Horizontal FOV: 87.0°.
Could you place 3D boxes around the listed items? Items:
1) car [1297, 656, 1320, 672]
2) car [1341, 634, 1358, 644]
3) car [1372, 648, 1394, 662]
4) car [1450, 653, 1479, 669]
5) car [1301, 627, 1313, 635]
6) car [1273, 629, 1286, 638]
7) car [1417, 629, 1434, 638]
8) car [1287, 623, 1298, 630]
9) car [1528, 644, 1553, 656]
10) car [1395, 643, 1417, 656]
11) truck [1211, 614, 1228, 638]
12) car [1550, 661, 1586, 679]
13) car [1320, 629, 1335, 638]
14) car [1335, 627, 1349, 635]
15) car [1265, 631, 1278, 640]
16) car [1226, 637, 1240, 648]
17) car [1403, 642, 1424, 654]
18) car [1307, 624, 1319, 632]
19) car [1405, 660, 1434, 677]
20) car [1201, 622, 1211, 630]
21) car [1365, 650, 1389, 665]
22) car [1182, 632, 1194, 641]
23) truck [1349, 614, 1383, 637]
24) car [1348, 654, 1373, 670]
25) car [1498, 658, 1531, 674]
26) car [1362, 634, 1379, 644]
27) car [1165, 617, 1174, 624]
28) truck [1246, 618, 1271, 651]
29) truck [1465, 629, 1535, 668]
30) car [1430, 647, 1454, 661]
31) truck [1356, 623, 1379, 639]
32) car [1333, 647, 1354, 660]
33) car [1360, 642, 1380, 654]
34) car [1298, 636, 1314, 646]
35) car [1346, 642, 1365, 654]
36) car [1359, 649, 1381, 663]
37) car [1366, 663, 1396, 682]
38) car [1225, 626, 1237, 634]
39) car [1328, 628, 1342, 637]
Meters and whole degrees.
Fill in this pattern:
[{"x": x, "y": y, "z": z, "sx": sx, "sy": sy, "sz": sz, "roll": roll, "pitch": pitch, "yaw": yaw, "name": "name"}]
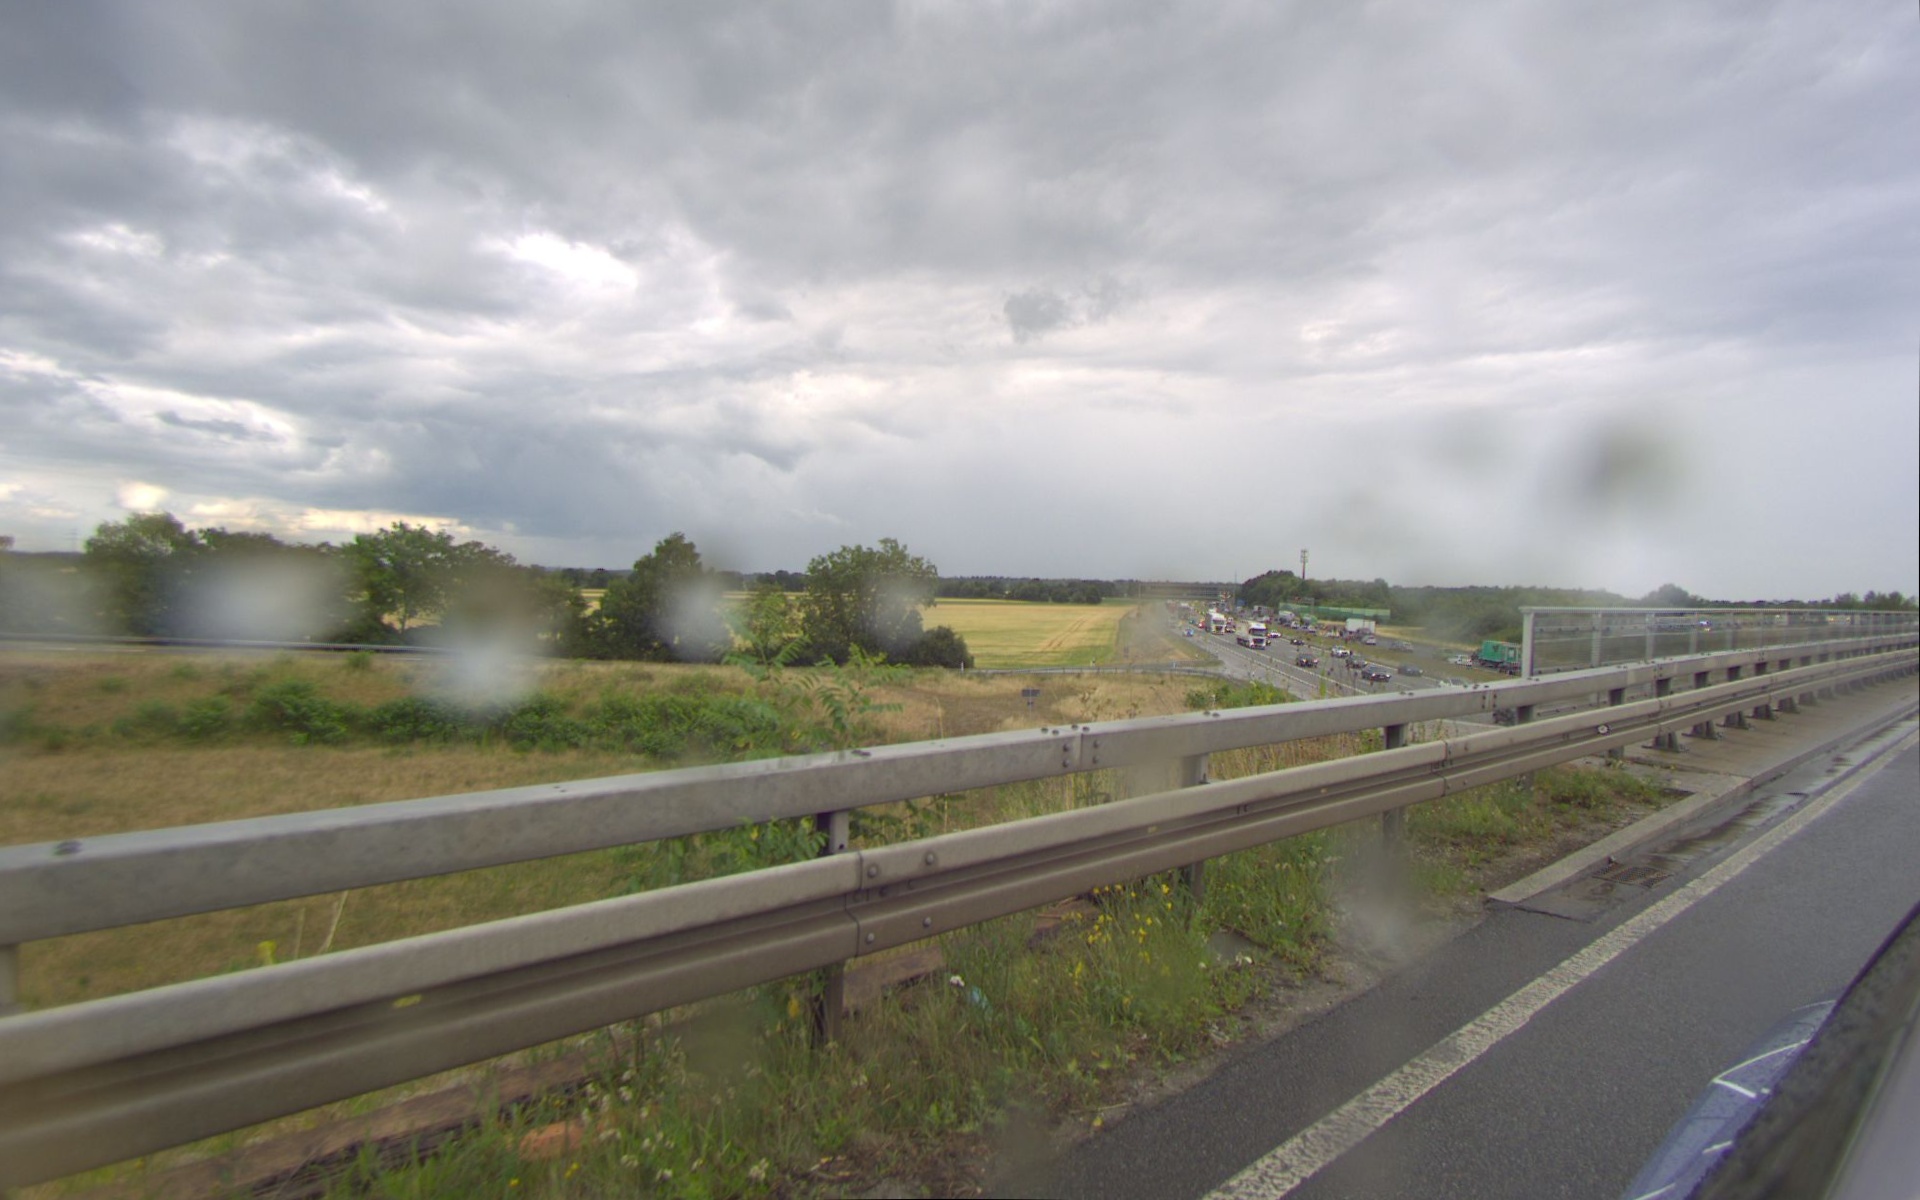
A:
[{"x": 42.529, "y": 7.825, "z": 123.617, "sx": 1.826, "sy": 1.690, "sz": 4.712, "roll": 0, "pitch": 0, "yaw": 8, "name": "car"}, {"x": 71.470, "y": 7.153, "z": 185.774, "sx": 1.826, "sy": 1.690, "sz": 4.712, "roll": 0, "pitch": 0, "yaw": 8, "name": "car"}, {"x": 60.666, "y": 7.900, "z": 145.304, "sx": 1.826, "sy": 1.690, "sz": 4.712, "roll": 0, "pitch": 0, "yaw": 8, "name": "car"}, {"x": 64.915, "y": 7.832, "z": 130.228, "sx": 1.825, "sy": 1.690, "sz": 4.715, "roll": 0, "pitch": 0, "yaw": 6, "name": "car"}, {"x": 77.553, "y": 6.852, "z": 226.298, "sx": 1.826, "sy": 1.690, "sz": 4.712, "roll": 0, "pitch": 0, "yaw": 8, "name": "car"}, {"x": 65.547, "y": 6.815, "z": 207.595, "sx": 1.826, "sy": 1.690, "sz": 4.712, "roll": 0, "pitch": 0, "yaw": 8, "name": "car"}, {"x": 98.543, "y": 7.097, "z": 214.256, "sx": 1.826, "sy": 1.690, "sz": 4.712, "roll": 0, "pitch": 0, "yaw": 8, "name": "car"}, {"x": 80.652, "y": 6.417, "z": 245.630, "sx": 1.826, "sy": 1.690, "sz": 4.712, "roll": 0, "pitch": 0, "yaw": 8, "name": "car"}, {"x": 91.352, "y": 7.804, "z": 159.334, "sx": 1.826, "sy": 1.690, "sz": 4.712, "roll": 0, "pitch": 0, "yaw": 8, "name": "car"}, {"x": 68.200, "y": 7.575, "z": 154.855, "sx": 1.826, "sy": 1.690, "sz": 4.712, "roll": 0, "pitch": 0, "yaw": 8, "name": "car"}, {"x": 54.215, "y": 5.311, "z": 211.543, "sx": 2.751, "sy": 4.676, "sz": 12.710, "roll": 0, "pitch": 0, "yaw": 12, "name": "truck"}, {"x": 70.450, "y": 8.089, "z": 117.361, "sx": 1.826, "sy": 1.690, "sz": 4.712, "roll": 0, "pitch": 0, "yaw": 8, "name": "car"}, {"x": 75.003, "y": 6.841, "z": 206.551, "sx": 1.826, "sy": 1.690, "sz": 4.712, "roll": 0, "pitch": 0, "yaw": 8, "name": "car"}, {"x": 85.076, "y": 6.888, "z": 225.479, "sx": 1.826, "sy": 1.690, "sz": 4.712, "roll": 0, "pitch": 0, "yaw": 8, "name": "car"}, {"x": 60.877, "y": 6.882, "z": 197.820, "sx": 1.826, "sy": 1.690, "sz": 4.712, "roll": 0, "pitch": 0, "yaw": 8, "name": "car"}, {"x": 47.486, "y": 7.442, "z": 175.911, "sx": 1.826, "sy": 1.690, "sz": 4.712, "roll": 0, "pitch": 0, "yaw": 8, "name": "car"}, {"x": 74.079, "y": 7.777, "z": 165.328, "sx": 1.826, "sy": 1.690, "sz": 4.712, "roll": 0, "pitch": 0, "yaw": 8, "name": "car"}, {"x": 82.957, "y": 6.550, "z": 237.788, "sx": 1.826, "sy": 1.690, "sz": 4.712, "roll": 0, "pitch": 0, "yaw": 8, "name": "car"}, {"x": 53.752, "y": 7.980, "z": 118.342, "sx": 1.826, "sy": 1.690, "sz": 4.712, "roll": 0, "pitch": 0, "yaw": 8, "name": "car"}, {"x": 57.642, "y": 6.054, "z": 236.736, "sx": 1.826, "sy": 1.690, "sz": 4.712, "roll": 0, "pitch": 0, "yaw": 8, "name": "car"}, {"x": 56.564, "y": 7.813, "z": 137.400, "sx": 1.826, "sy": 1.690, "sz": 4.712, "roll": 0, "pitch": 0, "yaw": 8, "name": "car"}, {"x": 43.141, "y": 6.849, "z": 191.275, "sx": 1.783, "sy": 1.454, "sz": 4.714, "roll": 0, "pitch": 0, "yaw": 7, "name": "car"}, {"x": 88.962, "y": 5.473, "z": 221.970, "sx": 3.545, "sy": 4.595, "sz": 15.588, "roll": 0, "pitch": 0, "yaw": 9, "name": "truck"}, {"x": 50.201, "y": 7.782, "z": 127.032, "sx": 1.826, "sy": 1.690, "sz": 4.712, "roll": 0, "pitch": 0, "yaw": 8, "name": "car"}, {"x": 67.426, "y": 7.998, "z": 123.158, "sx": 1.825, "sy": 1.690, "sz": 4.715, "roll": 0, "pitch": 0, "yaw": 6, "name": "car"}, {"x": 75.662, "y": 7.235, "z": 186.571, "sx": 1.826, "sy": 1.690, "sz": 4.712, "roll": 0, "pitch": 0, "yaw": 8, "name": "car"}, {"x": 50.208, "y": 4.958, "z": 242.883, "sx": 1.826, "sy": 1.690, "sz": 4.712, "roll": 0, "pitch": 0, "yaw": 8, "name": "car"}, {"x": 48.036, "y": 5.480, "z": 163.052, "sx": 2.751, "sy": 4.962, "sz": 12.710, "roll": 0, "pitch": 0, "yaw": 12, "name": "truck"}, {"x": 73.951, "y": 6.501, "z": 139.180, "sx": 3.545, "sy": 4.595, "sz": 15.588, "roll": 0, "pitch": 0, "yaw": 9, "name": "truck"}, {"x": 69.823, "y": 7.790, "z": 146.716, "sx": 1.826, "sy": 1.690, "sz": 4.712, "roll": 0, "pitch": 0, "yaw": 8, "name": "car"}, {"x": 82.448, "y": 6.272, "z": 204.861, "sx": 2.175, "sy": 3.003, "sz": 9.285, "roll": 0, "pitch": 0, "yaw": 8, "name": "truck"}, {"x": 56.318, "y": 7.836, "z": 148.750, "sx": 1.826, "sy": 1.690, "sz": 4.712, "roll": 0, "pitch": 0, "yaw": 8, "name": "car"}, {"x": 65.211, "y": 7.599, "z": 160.996, "sx": 1.826, "sy": 1.690, "sz": 4.712, "roll": 0, "pitch": 0, "yaw": 8, "name": "car"}, {"x": 62.211, "y": 7.401, "z": 182.158, "sx": 1.826, "sy": 1.690, "sz": 4.712, "roll": 0, "pitch": 0, "yaw": 8, "name": "car"}, {"x": 62.866, "y": 7.582, "z": 161.032, "sx": 1.826, "sy": 1.690, "sz": 4.712, "roll": 0, "pitch": 0, "yaw": 8, "name": "car"}, {"x": 58.116, "y": 7.961, "z": 143.458, "sx": 1.826, "sy": 1.690, "sz": 4.712, "roll": 0, "pitch": 0, "yaw": 8, "name": "car"}, {"x": 44.984, "y": 7.704, "z": 108.298, "sx": 1.826, "sy": 1.690, "sz": 4.712, "roll": 0, "pitch": 0, "yaw": 8, "name": "car"}, {"x": 58.669, "y": 6.427, "z": 219.044, "sx": 1.826, "sy": 1.690, "sz": 4.712, "roll": 0, "pitch": 0, "yaw": 8, "name": "car"}, {"x": 79.482, "y": 6.859, "z": 214.397, "sx": 1.826, "sy": 1.690, "sz": 4.712, "roll": 0, "pitch": 0, "yaw": 8, "name": "car"}]
